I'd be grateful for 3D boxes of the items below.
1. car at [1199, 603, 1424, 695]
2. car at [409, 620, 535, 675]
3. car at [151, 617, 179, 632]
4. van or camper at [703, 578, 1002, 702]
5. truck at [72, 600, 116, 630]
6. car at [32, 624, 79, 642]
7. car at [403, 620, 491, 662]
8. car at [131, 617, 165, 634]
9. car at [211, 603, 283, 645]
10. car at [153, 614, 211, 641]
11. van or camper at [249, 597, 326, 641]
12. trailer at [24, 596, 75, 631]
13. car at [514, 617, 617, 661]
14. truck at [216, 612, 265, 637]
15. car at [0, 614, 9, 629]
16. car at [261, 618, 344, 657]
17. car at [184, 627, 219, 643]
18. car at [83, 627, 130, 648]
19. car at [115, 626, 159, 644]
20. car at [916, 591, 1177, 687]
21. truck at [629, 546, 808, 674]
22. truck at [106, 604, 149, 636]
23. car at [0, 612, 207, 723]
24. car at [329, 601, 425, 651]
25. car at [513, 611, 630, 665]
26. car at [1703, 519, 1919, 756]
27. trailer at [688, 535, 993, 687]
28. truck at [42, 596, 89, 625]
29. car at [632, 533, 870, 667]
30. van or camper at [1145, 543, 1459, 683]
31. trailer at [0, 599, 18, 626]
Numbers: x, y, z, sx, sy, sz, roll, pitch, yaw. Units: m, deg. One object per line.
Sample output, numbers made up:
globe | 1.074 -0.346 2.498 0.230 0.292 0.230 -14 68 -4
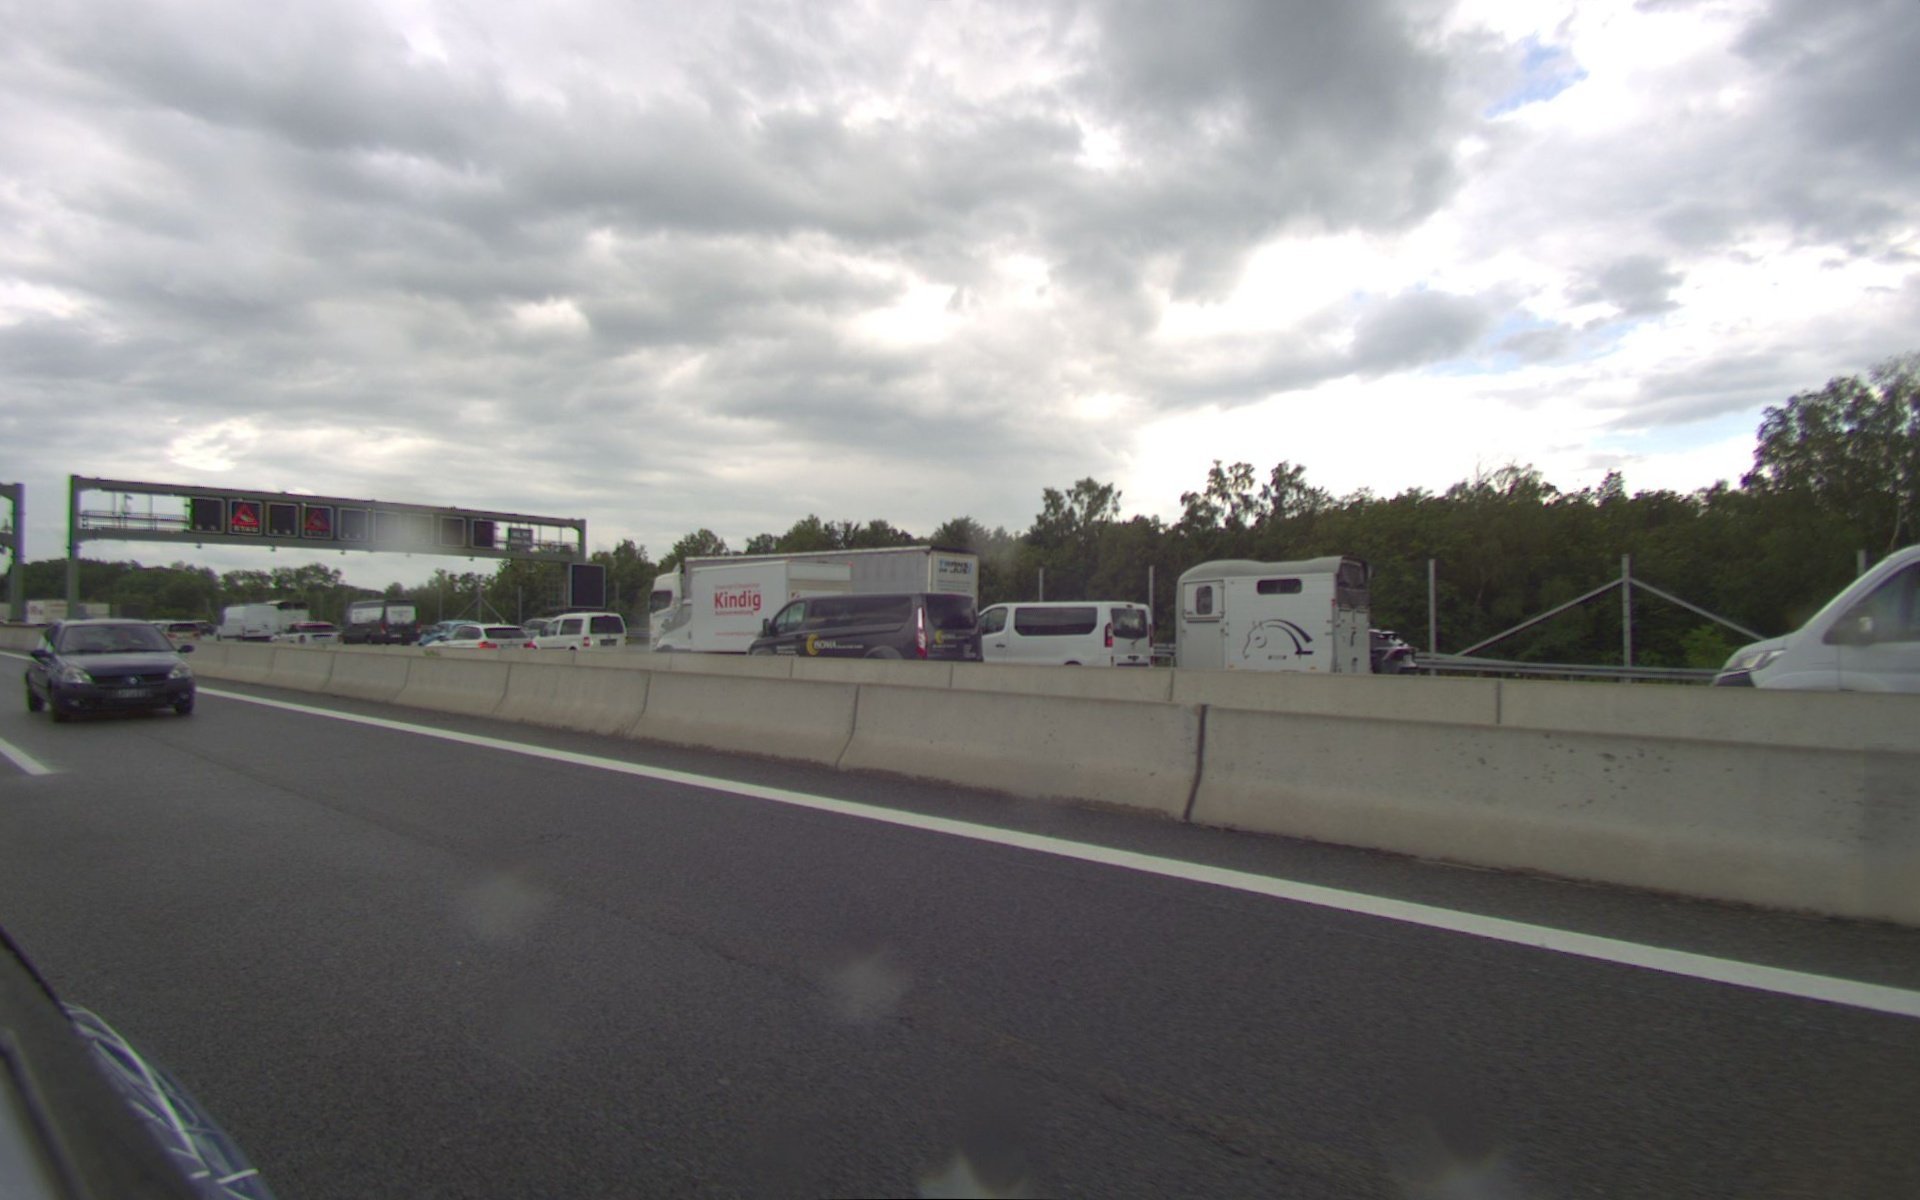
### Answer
car | 7.285 0.939 21.166 3.999 1.721 1.972 0 0 42
car | -14.736 1.362 30.415 4.931 1.504 1.625 -1 -1 41
car | -82.855 2.558 105.446 4.000 1.437 1.567 -1 -2 40
van or camper | -2.272 0.697 19.522 6.343 2.029 1.973 -1 0 41
truck | -114.370 2.071 133.596 10.751 3.869 2.868 -2 -2 41
car | -71.069 2.581 79.450 5.253 1.368 2.058 -1 -2 40
car | -21.186 1.639 41.741 4.278 1.634 1.783 -1 -1 41
car | -72.603 2.294 90.483 4.413 1.458 1.604 -1 -2 40
car | -43.871 1.479 62.215 6.061 2.507 2.180 -1 -2 40
car | -43.649 1.516 56.749 4.390 1.449 1.740 -1 -1 40
van or camper | -45.507 1.308 68.436 6.206 2.869 2.558 -1 -2 39
trailer | -115.365 1.784 128.160 11.947 4.226 3.154 -1 -2 40
car | -16.287 1.555 41.626 5.314 1.680 1.694 -1 -1 41
truck | -52.176 1.799 73.402 3.997 1.760 1.973 -1 -1 40
car | -106.501 2.410 111.573 4.718 1.660 1.853 -1 -2 40
car | -27.014 1.496 41.550 4.391 1.509 1.740 -1 -1 41
car | -72.732 3.347 96.988 4.339 1.437 1.744 -1 -2 40
car | -59.657 2.590 70.700 4.500 1.402 1.686 -1 -2 39
car | -63.892 2.693 78.523 5.125 1.368 1.780 -1 -2 40
car | 1.729 0.782 21.964 5.662 1.838 1.839 -1 0 41
truck | -10.261 0.431 42.497 8.020 4.893 3.115 -1 -1 40
truck | -94.707 2.320 115.076 7.802 3.564 2.438 -1 -2 40
car | -13.193 0.922 15.397 5.013 1.418 1.758 -1 -1 41
car | -32.299 1.409 55.953 7.353 2.566 2.248 -1 0 40
car | -13.285 1.249 34.463 4.793 1.680 1.694 -1 -1 41
car | 9.727 0.291 8.357 5.628 1.984 2.073 -1 -1 41
trailer | -4.960 0.443 37.987 13.284 4.893 3.115 -1 -1 40
truck | -133.651 1.612 151.047 17.733 4.052 2.621 -1 -2 40
car | -6.073 0.050 28.525 7.623 3.325 2.472 -1 -1 41
van or camper | 6.066 0.233 18.348 4.969 2.202 2.073 -1 -1 41
trailer | -149.087 1.947 156.875 13.008 3.963 3.210 -1 0 41
